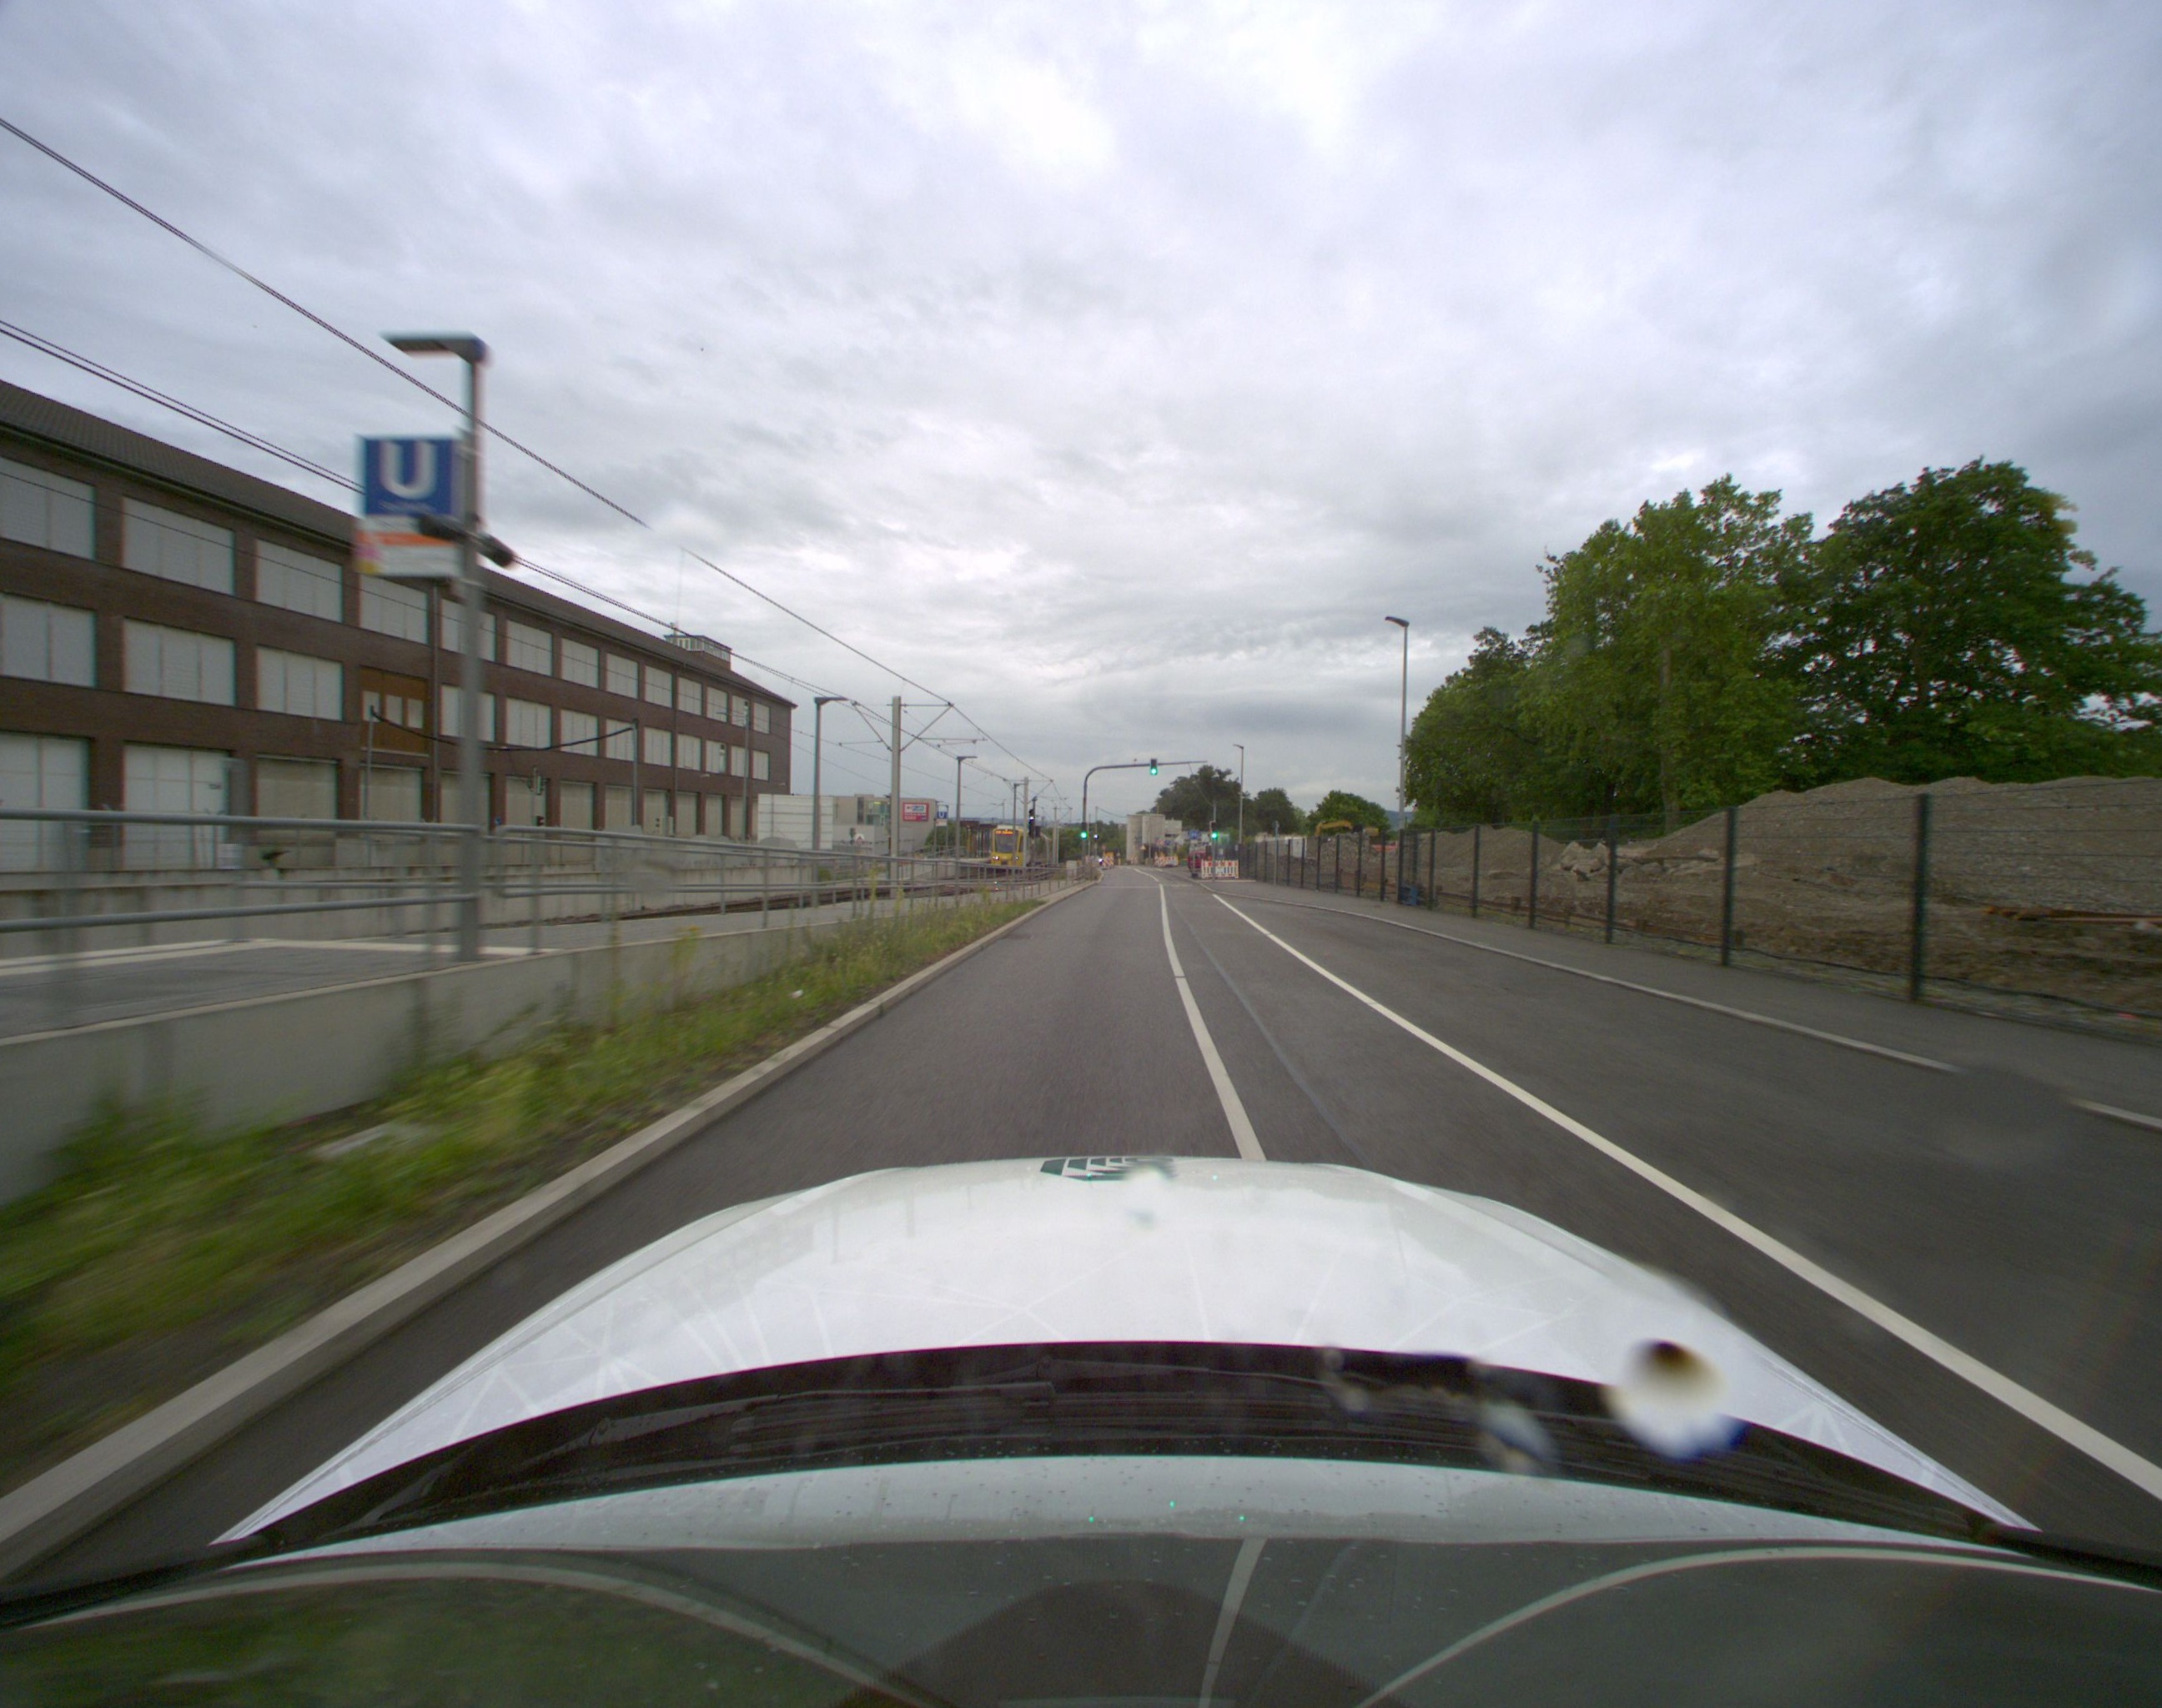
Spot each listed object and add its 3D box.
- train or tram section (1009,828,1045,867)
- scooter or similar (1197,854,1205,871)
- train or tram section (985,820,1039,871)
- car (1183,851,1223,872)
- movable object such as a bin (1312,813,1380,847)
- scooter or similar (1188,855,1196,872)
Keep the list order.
[{"bbox_3d":[-5.935,-0.678,92.994,2.946,3.886,19.285,2,0,0],"label":"train or tram section"},{"bbox_3d":[9.478,0.685,64.592,0.611,1.351,1.916,0,0,8],"label":"scooter or similar"},{"bbox_3d":[-5.937,-0.672,73.562,2.945,3.886,19.571,2,0,0],"label":"train or tram section"},{"bbox_3d":[10.567,0.626,70.439,1.802,1.794,4.436,0,0,32],"label":"car"},{"bbox_3d":[47.545,-4.286,146.391,11.165,5.995,3.500,0,-1,9],"label":"movable object such as a bin"},{"bbox_3d":[8.786,0.728,64.690,0.611,1.351,1.916,0,0,8],"label":"scooter or similar"}]
